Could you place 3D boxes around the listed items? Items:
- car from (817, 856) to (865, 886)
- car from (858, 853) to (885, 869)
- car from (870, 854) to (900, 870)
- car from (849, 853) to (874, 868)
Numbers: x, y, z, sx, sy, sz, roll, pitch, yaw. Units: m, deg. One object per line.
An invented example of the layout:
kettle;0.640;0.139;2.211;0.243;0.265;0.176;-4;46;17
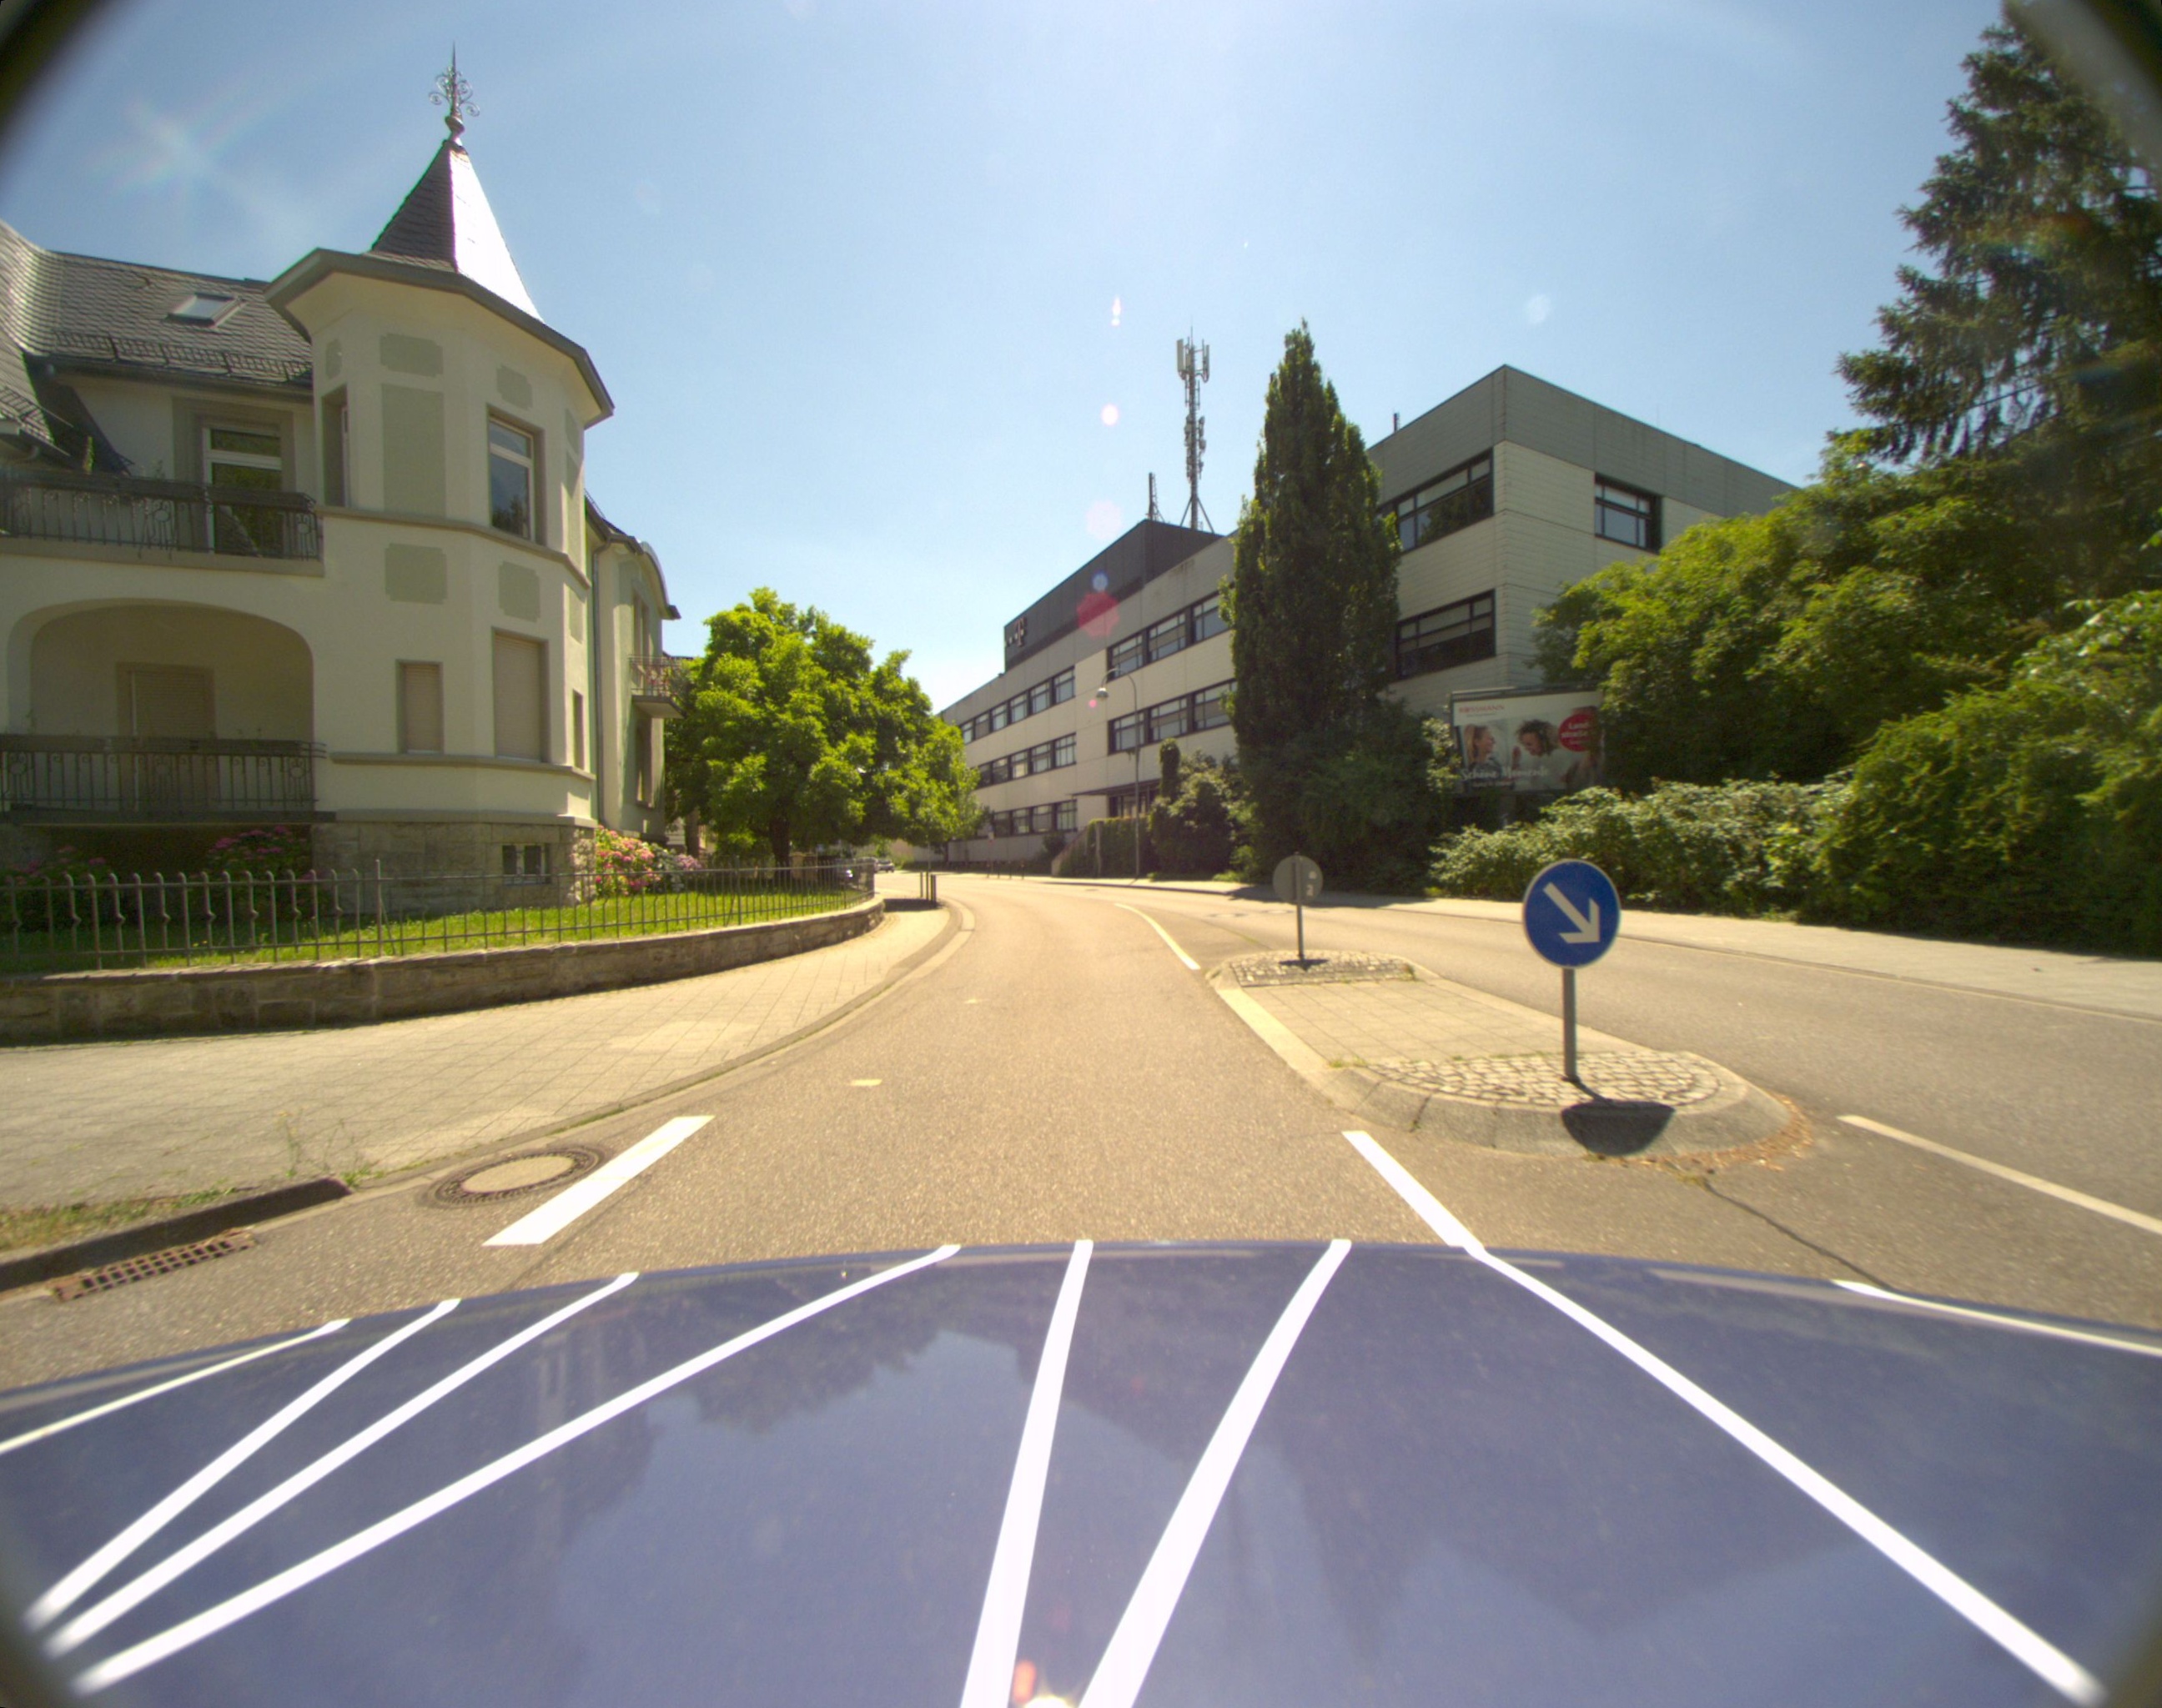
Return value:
car;-13.117;0.874;41.355;1.777;1.532;3.991;-1;0;-28
car;-21.084;0.707;76.398;1.749;1.494;3.725;-2;1;-28
car;-18.483;0.735;71.600;1.739;1.441;4.020;-3;1;-28
car;-23.317;0.689;80.704;1.777;1.532;3.991;-1;0;-28
